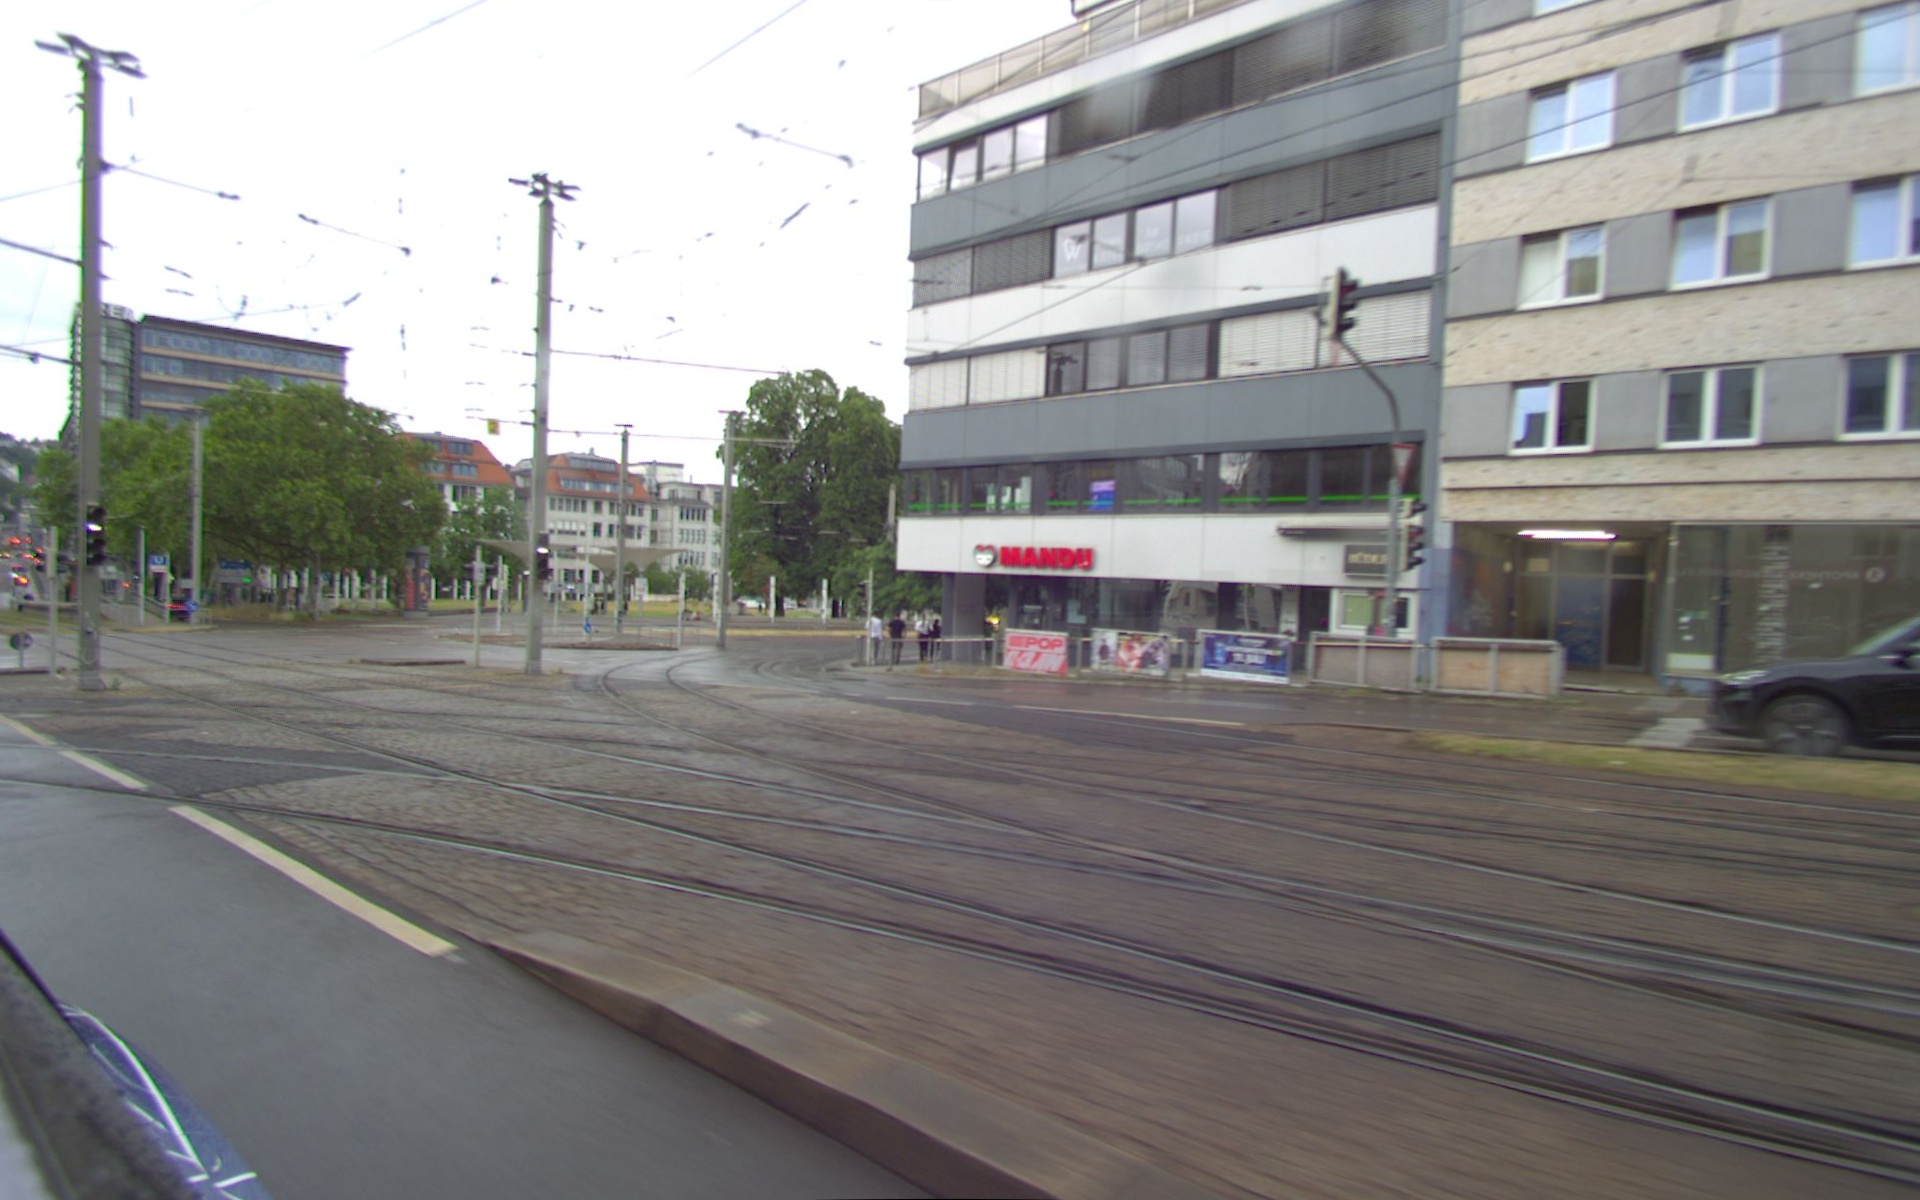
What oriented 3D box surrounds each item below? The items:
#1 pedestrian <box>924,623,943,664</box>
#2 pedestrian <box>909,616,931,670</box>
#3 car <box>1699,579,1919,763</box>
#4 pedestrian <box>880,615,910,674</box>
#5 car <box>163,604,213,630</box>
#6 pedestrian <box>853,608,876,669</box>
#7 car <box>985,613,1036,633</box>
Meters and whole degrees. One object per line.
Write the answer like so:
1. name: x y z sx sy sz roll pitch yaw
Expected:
1. pedestrian: -1.053 1.693 39.600 0.534 1.575 0.523 1 0 -28
2. pedestrian: -1.364 1.462 34.441 0.688 1.775 0.719 1 0 0
3. car: 9.943 0.661 9.634 4.526 1.686 1.972 -1 -1 42
4. pedestrian: -2.208 1.499 34.349 0.697 1.928 0.709 1 0 40
5. car: -49.062 1.079 64.266 2.073 1.517 4.737 1 0 -43
6. pedestrian: -3.106 1.237 32.760 0.687 1.928 0.720 1 0 -7
7. car: 4.419 2.015 88.482 4.469 1.658 2.001 1 0 -45
